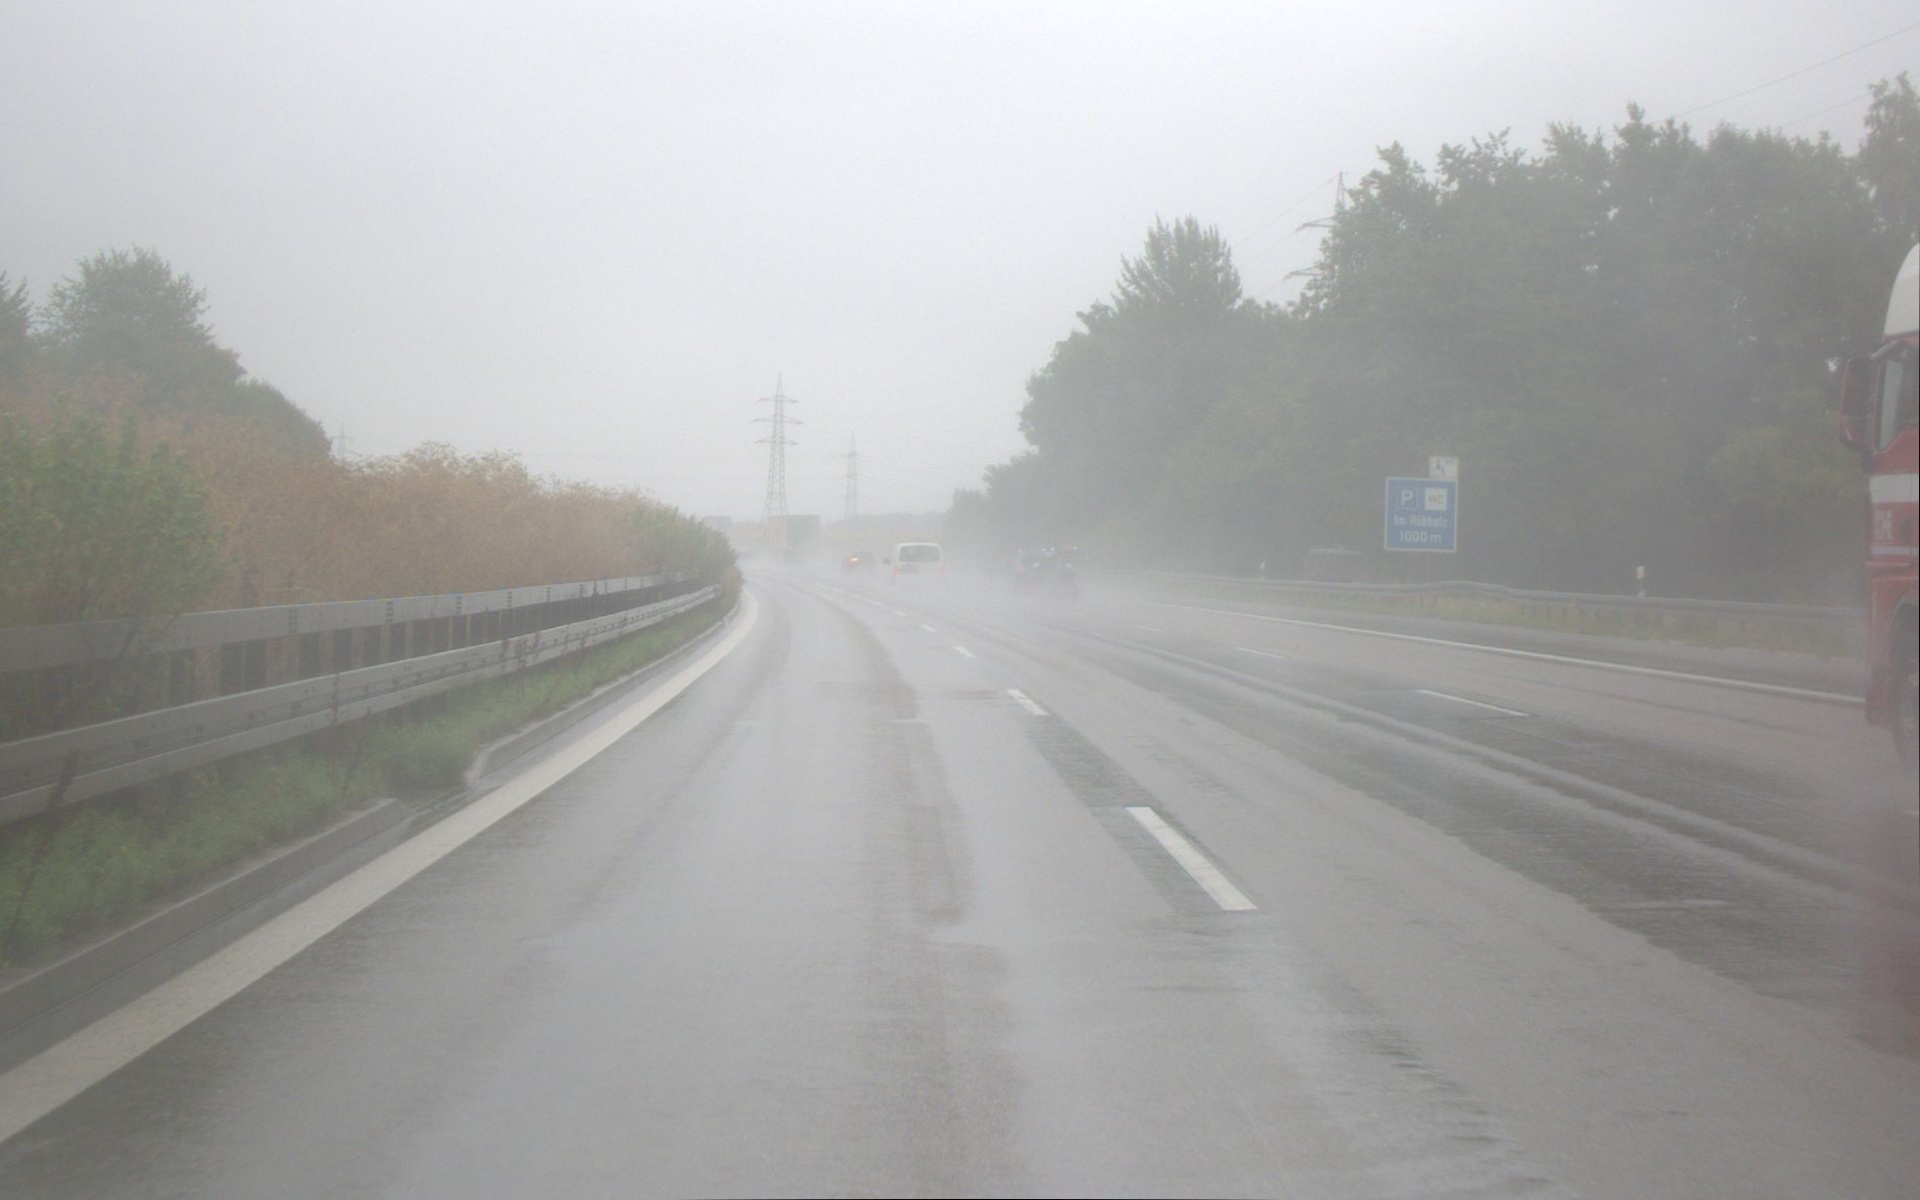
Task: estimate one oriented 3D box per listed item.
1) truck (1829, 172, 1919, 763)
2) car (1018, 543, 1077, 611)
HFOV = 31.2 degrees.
[{"bbox_3d":[7.715,-0.874,22.417,2.620,3.942,5.433,0,1,-1],"label":"truck"},{"bbox_3d":[2.868,-0.781,113.652,1.807,2.151,4.000,1,1,0],"label":"car"}]
